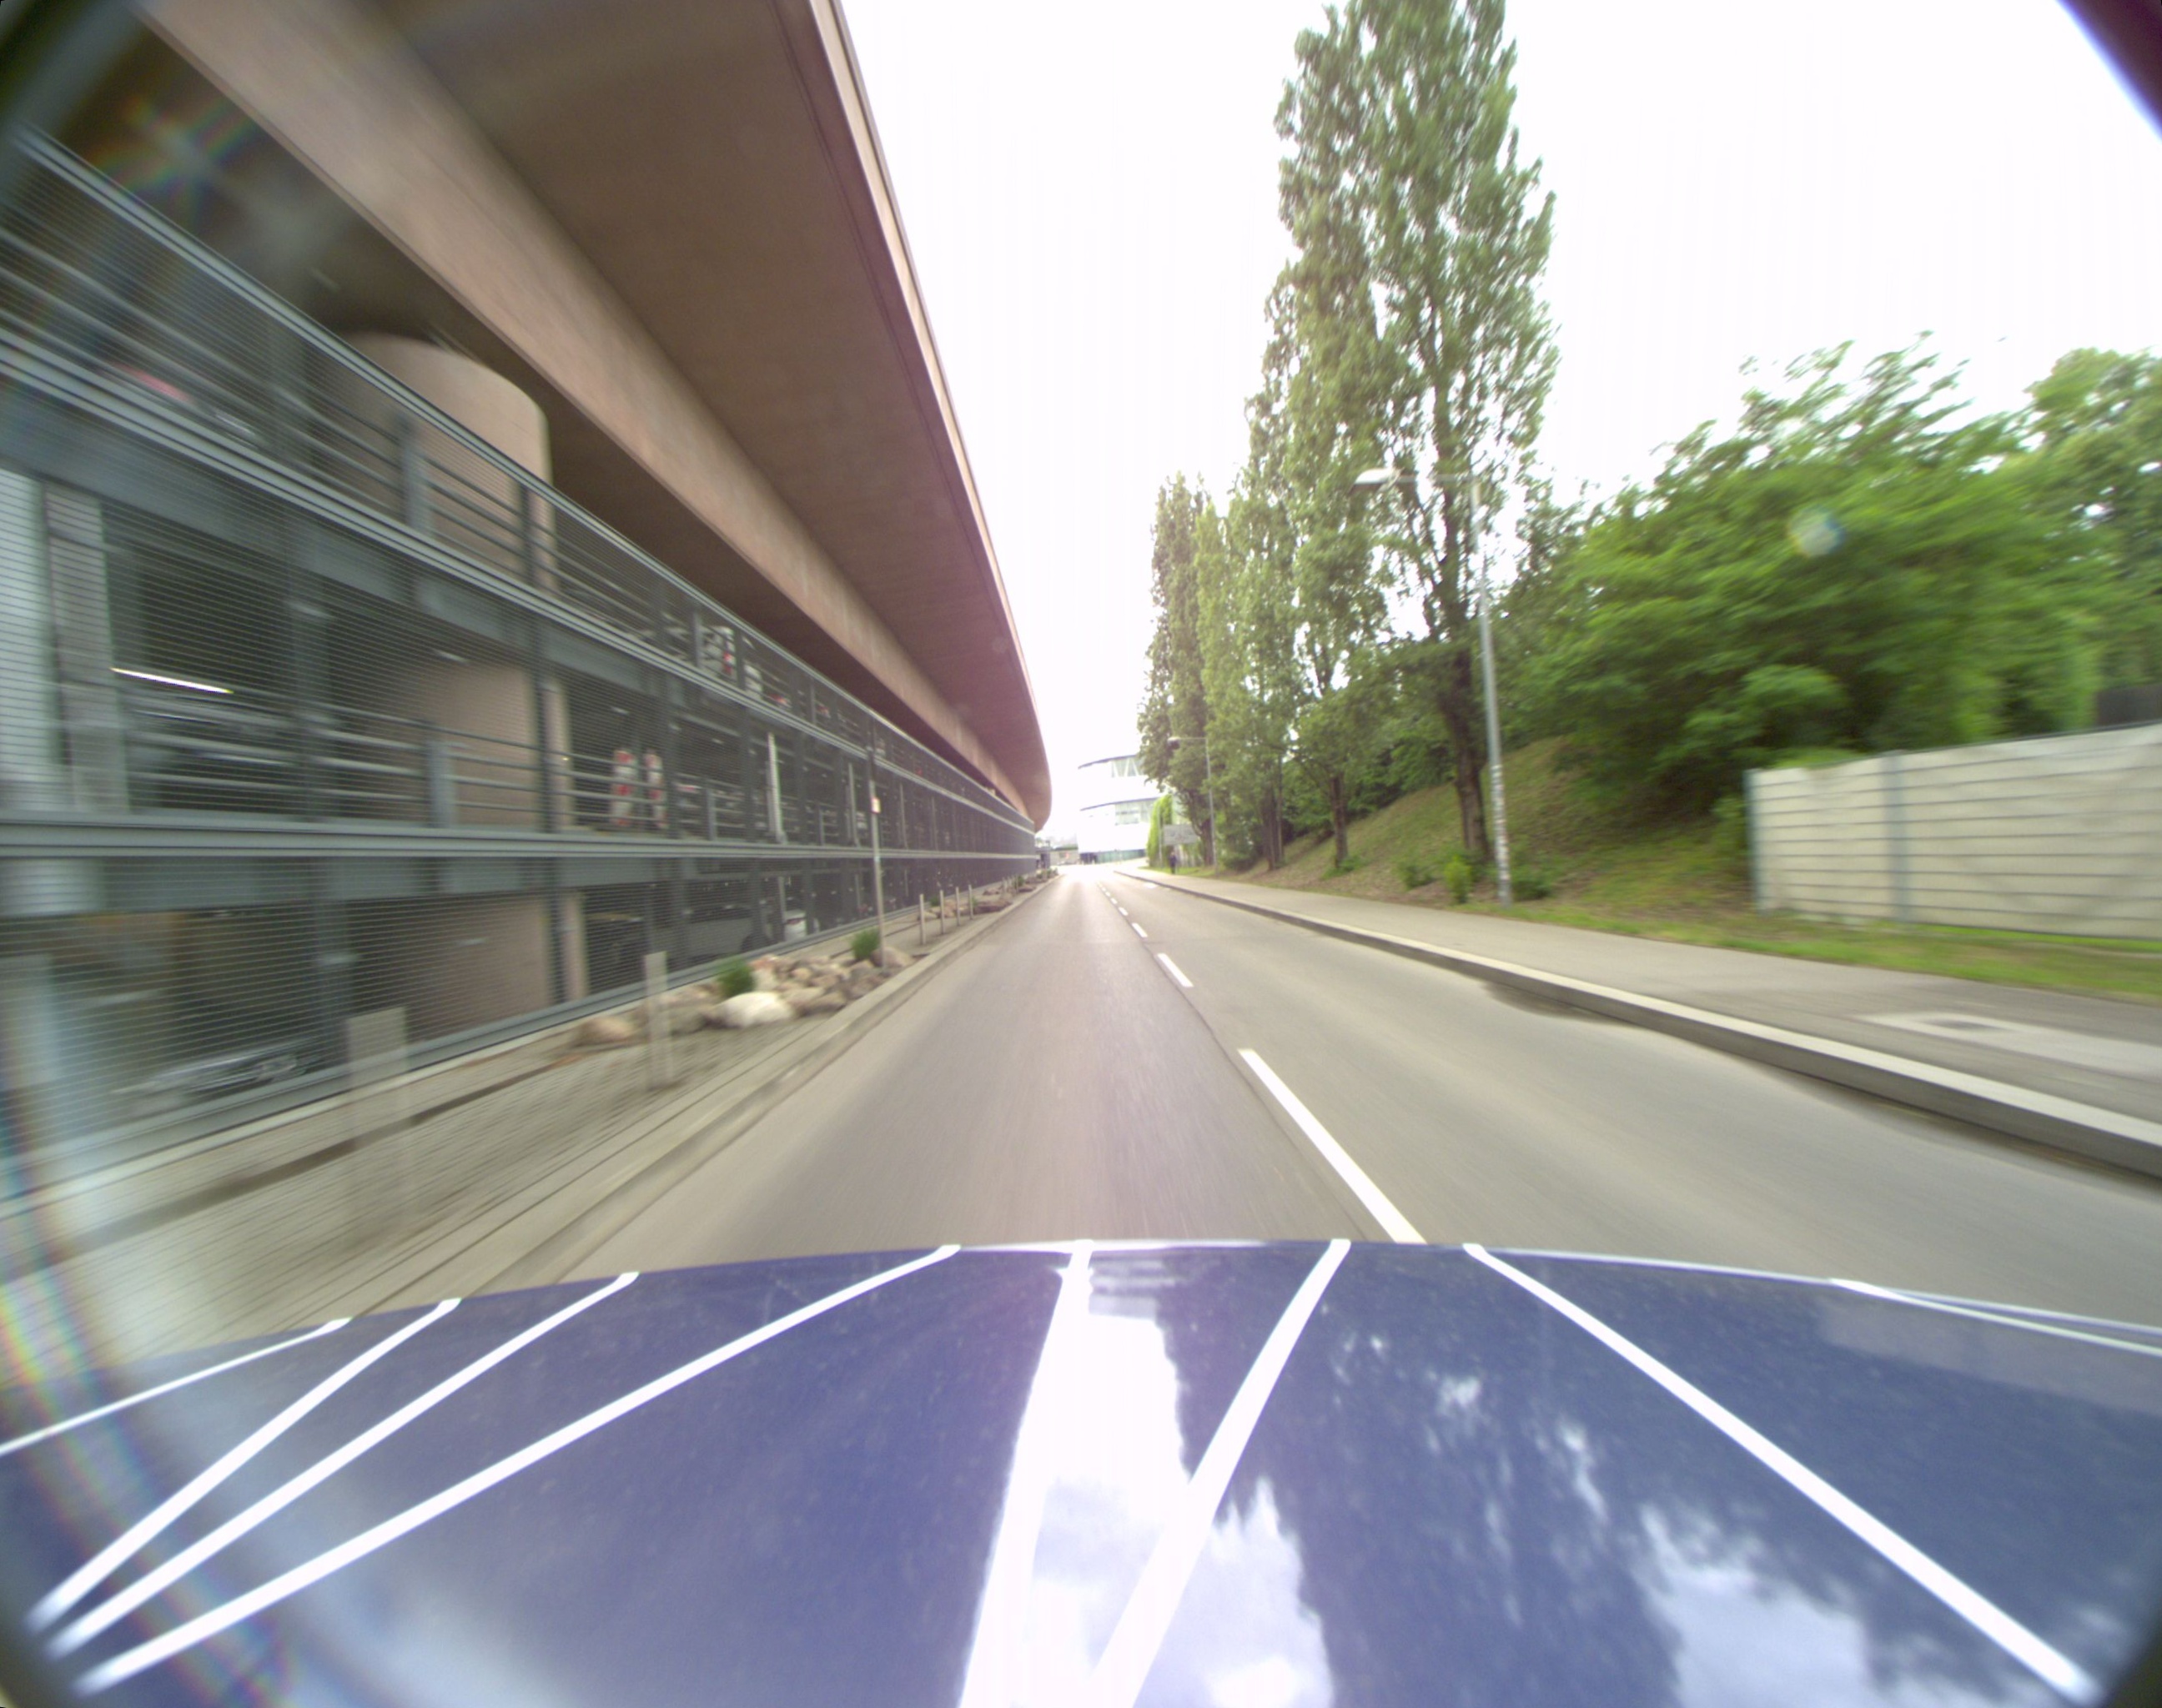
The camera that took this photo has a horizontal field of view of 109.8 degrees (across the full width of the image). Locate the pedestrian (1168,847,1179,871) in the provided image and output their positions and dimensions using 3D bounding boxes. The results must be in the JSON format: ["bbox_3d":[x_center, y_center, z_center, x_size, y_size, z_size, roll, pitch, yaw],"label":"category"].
[{"bbox_3d":[7.366,0.415,60.463,0.662,1.883,0.736,-2,1,0],"label":"pedestrian"}]
